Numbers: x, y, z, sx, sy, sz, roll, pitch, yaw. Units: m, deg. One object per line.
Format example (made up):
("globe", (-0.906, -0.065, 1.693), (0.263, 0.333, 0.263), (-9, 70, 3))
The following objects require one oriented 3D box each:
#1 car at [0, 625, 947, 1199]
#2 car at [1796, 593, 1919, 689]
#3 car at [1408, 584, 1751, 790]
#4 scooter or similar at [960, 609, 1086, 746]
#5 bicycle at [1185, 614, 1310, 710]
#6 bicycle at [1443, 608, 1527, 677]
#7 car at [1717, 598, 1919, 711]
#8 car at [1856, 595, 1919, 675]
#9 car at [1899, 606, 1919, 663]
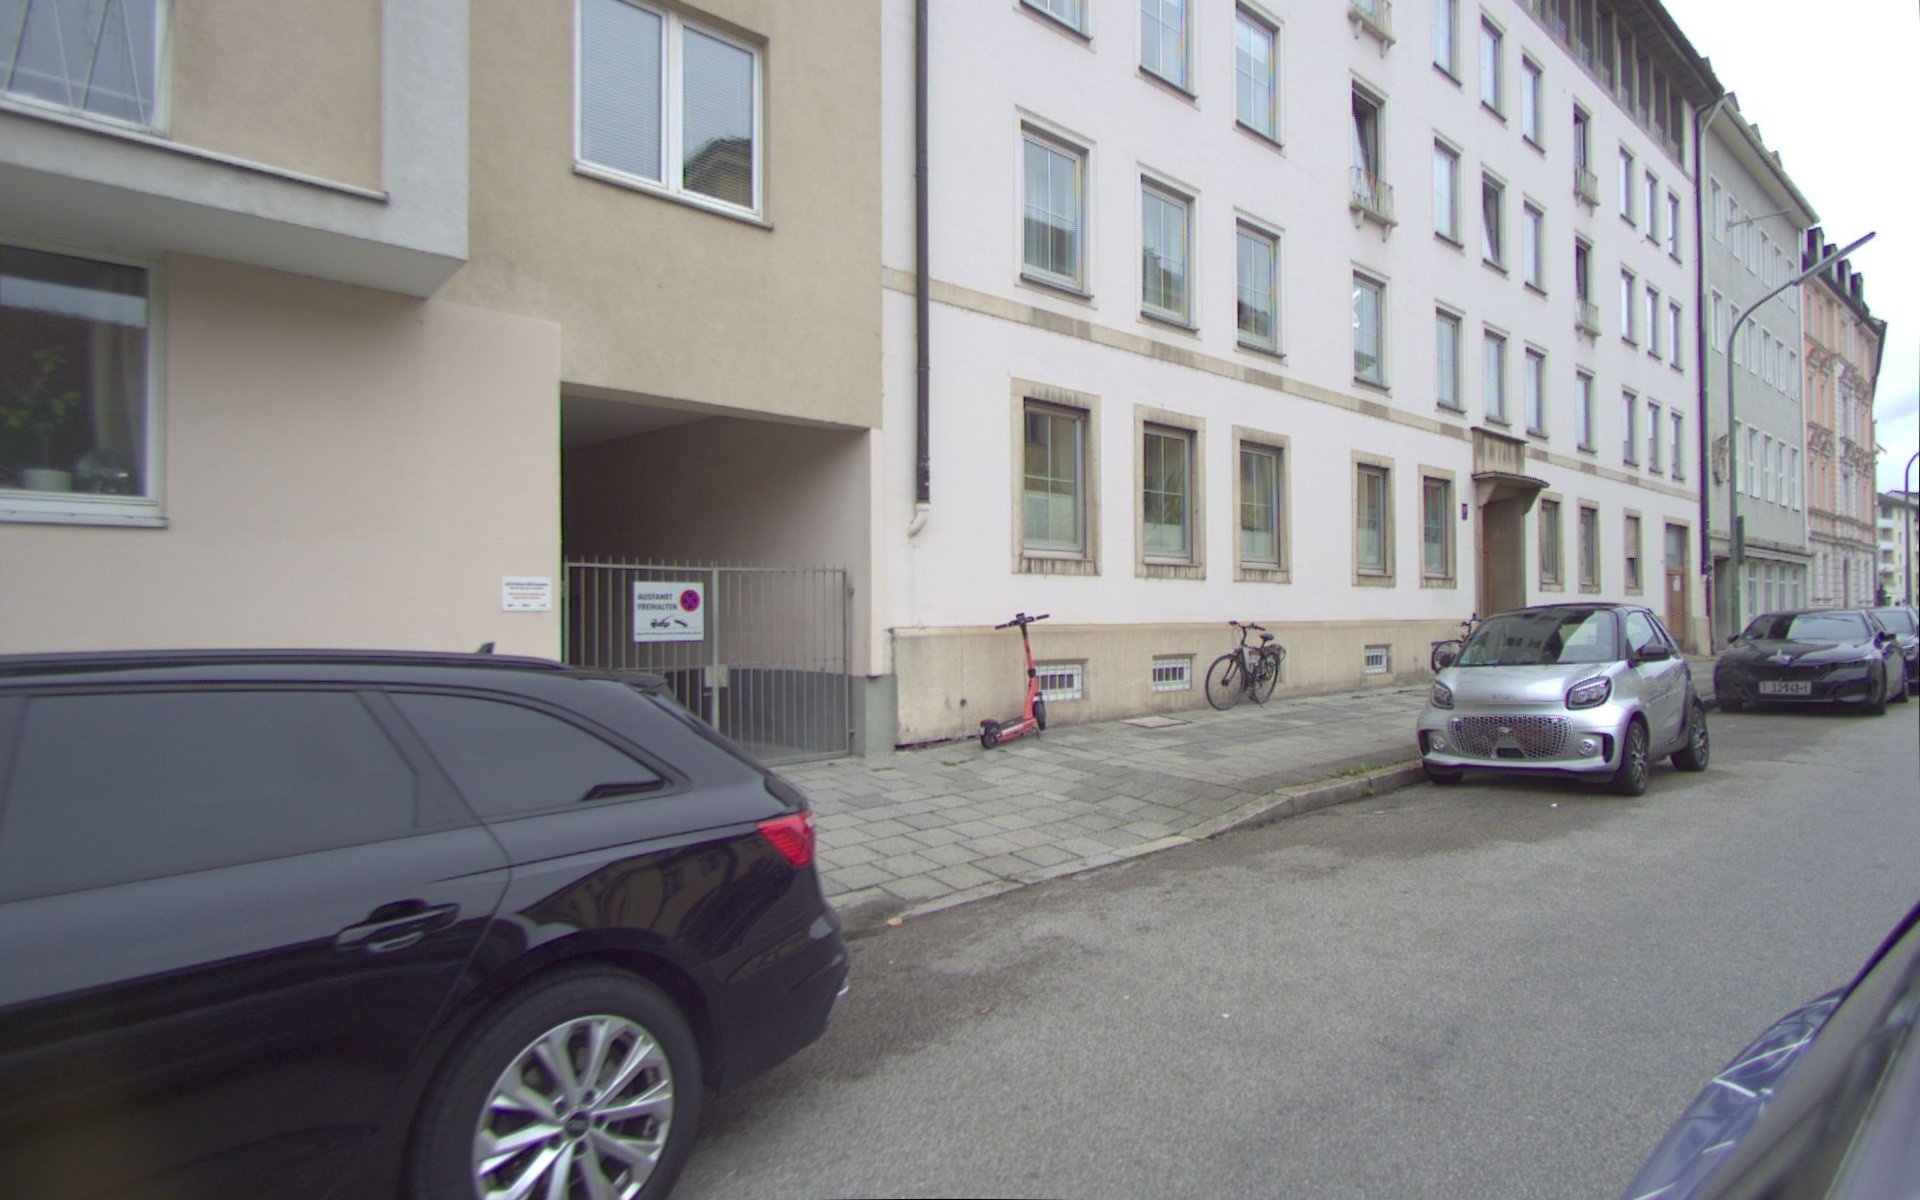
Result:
("car", (-2.305, 0.794, 2.003), (4.412, 1.399, 1.829), (1, -3, -41))
("car", (17.239, 0.724, 18.812), (4.411, 1.602, 1.830), (1, -2, -40))
("car", (5.732, 0.716, 9.257), (3.320, 1.537, 1.616), (1, -5, -40))
("scooter or similar", (0.642, 0.741, 10.222), (1.076, 1.291, 0.730), (1, -1, -41))
("bicycle", (3.697, 0.753, 12.939), (1.805, 1.105, 0.631), (1, 1, -42))
("bicycle", (9.063, 0.701, 17.428), (2.005, 1.093, 0.598), (1, 2, -42))
("car", (13.279, 0.757, 15.479), (4.620, 1.466, 1.875), (1, -2, -43))
("car", (21.035, 0.727, 21.858), (4.410, 1.602, 1.830), (1, -2, -40))
("car", (26.591, 0.892, 27.028), (4.108, 1.449, 1.743), (1, -2, -41))
